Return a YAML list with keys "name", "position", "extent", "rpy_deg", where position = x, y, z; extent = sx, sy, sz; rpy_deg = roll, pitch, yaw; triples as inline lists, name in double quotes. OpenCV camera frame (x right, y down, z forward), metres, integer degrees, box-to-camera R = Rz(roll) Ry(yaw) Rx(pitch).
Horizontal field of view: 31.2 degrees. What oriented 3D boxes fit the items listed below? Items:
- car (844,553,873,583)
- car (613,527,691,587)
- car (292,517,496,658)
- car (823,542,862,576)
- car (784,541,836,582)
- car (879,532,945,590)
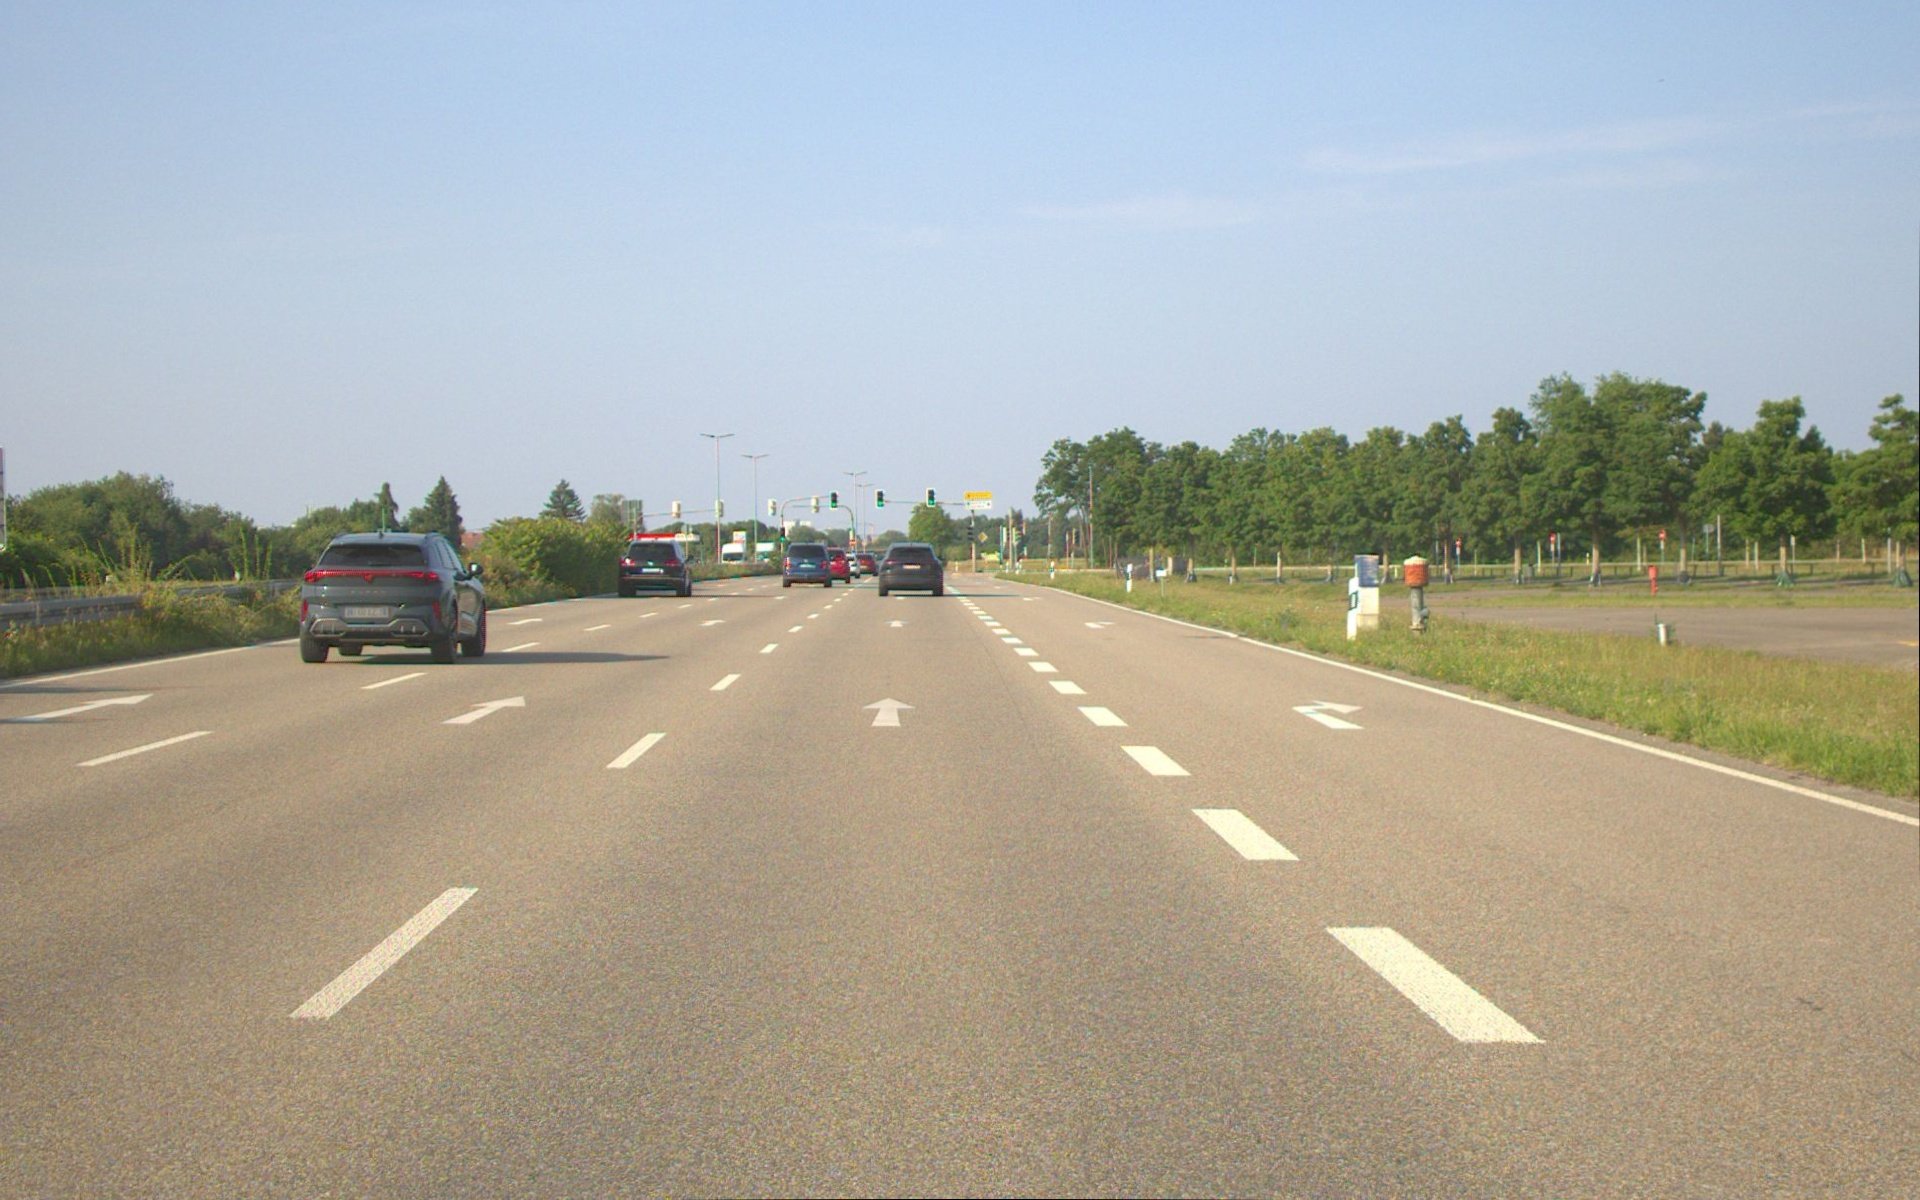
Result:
- name: "car"
  position: [-5.900, -1.877, 200.562]
  extent: [1.645, 1.722, 3.401]
  rpy_deg: [1, 0, -1]
- name: "car"
  position: [-9.068, -1.274, 101.341]
  extent: [1.932, 1.674, 4.401]
  rpy_deg: [2, 1, -1]
- name: "car"
  position: [-6.968, -0.182, 42.725]
  extent: [1.845, 1.606, 4.401]
  rpy_deg: [2, 1, -1]
- name: "car"
  position: [-5.240, -1.828, 153.910]
  extent: [1.647, 1.458, 3.981]
  rpy_deg: [2, 1, -1]
- name: "car"
  position: [-5.610, -1.444, 128.804]
  extent: [1.812, 1.458, 4.401]
  rpy_deg: [2, 1, -1]
- name: "car"
  position: [-1.485, -1.201, 105.456]
  extent: [1.932, 1.674, 4.401]
  rpy_deg: [2, 1, -1]
